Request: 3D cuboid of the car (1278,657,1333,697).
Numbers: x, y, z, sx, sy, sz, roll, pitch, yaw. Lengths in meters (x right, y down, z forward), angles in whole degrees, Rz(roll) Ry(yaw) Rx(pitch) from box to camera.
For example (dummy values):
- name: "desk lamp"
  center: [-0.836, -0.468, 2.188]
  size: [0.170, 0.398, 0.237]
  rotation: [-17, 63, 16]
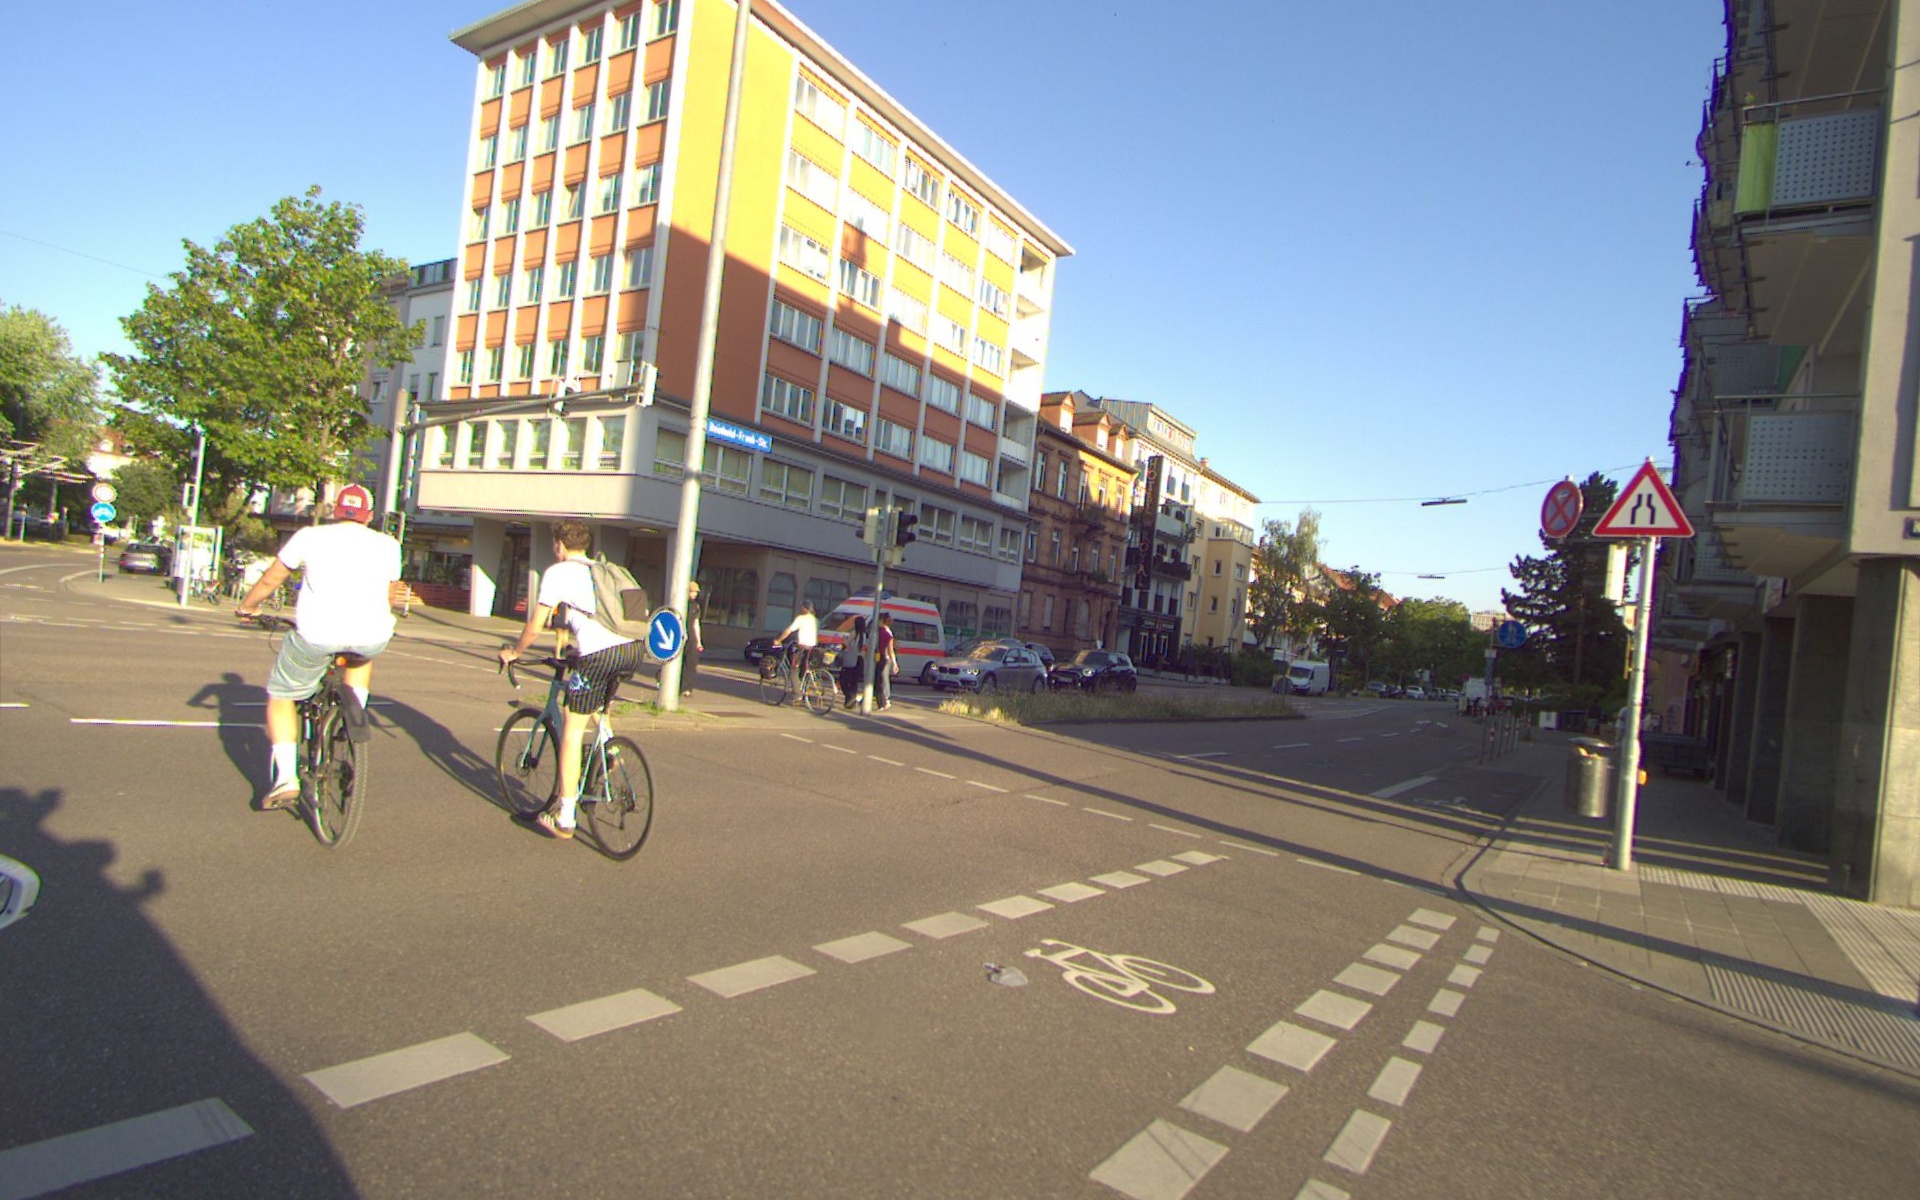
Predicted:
- name: "car"
  center: [25.383, 5.679, 73.759]
  size: [2.091, 2.553, 6.417]
  rotation: [6, -2, 33]

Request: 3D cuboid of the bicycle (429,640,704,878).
- name: "bicycle"
  center: [-2.353, 0.857, 5.897]
  size: [1.829, 1.040, 0.575]
  rotation: [5, -1, 39]

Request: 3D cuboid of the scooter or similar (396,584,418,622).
- name: "scooter or similar"
  center: [-19.645, 0.100, 35.756]
  size: [0.413, 1.269, 1.171]
  rotation: [7, -1, -36]

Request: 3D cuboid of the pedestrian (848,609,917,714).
- name: "pedestrian"
  center: [-1.307, 1.049, 17.063]
  size: [0.735, 1.682, 0.682]
  rotation: [6, -1, 35]

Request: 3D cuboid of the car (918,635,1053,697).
- name: "car"
  center: [0.781, 1.858, 27.879]
  size: [1.778, 1.392, 3.991]
  rotation: [5, -2, 34]

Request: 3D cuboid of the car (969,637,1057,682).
- name: "car"
  center: [2.395, 2.677, 44.946]
  size: [1.969, 1.592, 3.989]
  rotation: [6, -2, 36]

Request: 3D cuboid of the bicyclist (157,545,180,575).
- name: "bicyclist"
  center: [-45.873, -2.306, 58.322]
  size: [0.772, 1.637, 1.017]
  rotation: [8, -2, -33]

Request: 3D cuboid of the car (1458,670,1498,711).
- name: "car"
  center: [38.873, 6.812, 75.437]
  size: [2.056, 2.753, 4.539]
  rotation: [6, -1, 32]

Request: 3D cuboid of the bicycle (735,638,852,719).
- name: "bicycle"
  center: [-2.525, 1.168, 15.151]
  size: [1.821, 0.992, 0.520]
  rotation: [6, -1, 36]

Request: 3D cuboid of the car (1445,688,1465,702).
- name: "car"
  center: [67.771, 13.009, 137.579]
  size: [1.898, 1.592, 3.992]
  rotation: [6, -2, 33]

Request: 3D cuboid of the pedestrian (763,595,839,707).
- name: "pedestrian"
  center: [-2.405, 0.777, 15.196]
  size: [0.750, 1.608, 0.675]
  rotation: [4, -2, 37]

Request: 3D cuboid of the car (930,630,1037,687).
- name: "car"
  center: [0.848, 2.011, 33.737]
  size: [1.571, 1.589, 4.077]
  rotation: [6, -2, 33]

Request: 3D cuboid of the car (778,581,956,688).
- name: "car"
  center: [-2.481, 1.063, 28.356]
  size: [1.895, 2.511, 5.256]
  rotation: [6, -2, 34]

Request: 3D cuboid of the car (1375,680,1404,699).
- name: "car"
  center: [42.790, 8.913, 100.253]
  size: [1.898, 1.592, 3.992]
  rotation: [6, -2, 33]

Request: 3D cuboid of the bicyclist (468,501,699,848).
- name: "bicyclist"
  center: [-2.201, 0.396, 5.870]
  size: [0.979, 1.829, 0.674]
  rotation: [6, -1, 38]

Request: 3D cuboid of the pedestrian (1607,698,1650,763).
- name: "pedestrian"
  center: [19.901, 3.867, 29.955]
  size: [0.698, 1.797, 0.728]
  rotation: [6, 0, 13]

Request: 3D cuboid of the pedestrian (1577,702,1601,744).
- name: "pedestrian"
  center: [25.530, 4.971, 40.851]
  size: [0.699, 1.595, 0.726]
  rotation: [6, -1, 32]

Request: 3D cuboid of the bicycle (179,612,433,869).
- name: "bicycle"
  center: [-3.596, 0.680, 5.448]
  size: [1.952, 1.040, 0.478]
  rotation: [5, -1, 39]

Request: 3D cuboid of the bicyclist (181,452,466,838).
- name: "bicyclist"
  center: [-3.416, 0.216, 5.400]
  size: [1.042, 1.829, 0.826]
  rotation: [6, -1, 38]

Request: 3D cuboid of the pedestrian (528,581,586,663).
- name: "pedestrian"
  center: [-8.347, 0.456, 20.845]
  size: [0.736, 1.608, 0.681]
  rotation: [6, -1, 39]

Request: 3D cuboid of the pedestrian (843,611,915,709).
- name: "pedestrian"
  center: [-1.489, 1.102, 18.422]
  size: [0.891, 1.682, 0.728]
  rotation: [6, -1, 35]

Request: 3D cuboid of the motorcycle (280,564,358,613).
- name: "motorcycle"
  center: [-22.166, -0.374, 34.818]
  size: [0.750, 1.423, 2.041]
  rotation: [6, -2, 41]

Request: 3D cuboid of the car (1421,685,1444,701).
- name: "car"
  center: [56.166, 11.041, 119.591]
  size: [1.898, 1.592, 3.992]
  rotation: [6, -2, 33]

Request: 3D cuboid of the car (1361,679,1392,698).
- name: "car"
  center: [39.420, 8.374, 95.089]
  size: [1.898, 1.592, 3.991]
  rotation: [6, -2, 33]

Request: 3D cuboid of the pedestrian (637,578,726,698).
- name: "pedestrian"
  center: [-4.311, 0.586, 15.552]
  size: [1.056, 1.725, 0.661]
  rotation: [6, -1, 39]

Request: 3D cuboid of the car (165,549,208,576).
- name: "car"
  center: [-52.211, -2.514, 67.982]
  size: [1.768, 1.576, 4.201]
  rotation: [4, 0, -32]

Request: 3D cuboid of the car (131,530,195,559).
- name: "car"
  center: [-96.594, -6.683, 121.959]
  size: [2.119, 2.624, 5.522]
  rotation: [5, -2, 31]

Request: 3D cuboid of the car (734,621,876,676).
- name: "car"
  center: [-5.006, 1.635, 33.207]
  size: [1.811, 1.356, 4.665]
  rotation: [6, -2, 35]

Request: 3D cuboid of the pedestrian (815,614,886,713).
- name: "pedestrian"
  center: [-1.791, 1.038, 16.458]
  size: [0.735, 1.518, 0.682]
  rotation: [6, -1, 35]

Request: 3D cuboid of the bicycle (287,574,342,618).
- name: "bicycle"
  center: [-20.416, -0.134, 31.806]
  size: [2.091, 1.172, 0.645]
  rotation: [7, 0, 36]

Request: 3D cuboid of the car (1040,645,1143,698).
- name: "car"
  center: [4.547, 2.467, 34.303]
  size: [1.760, 1.481, 3.990]
  rotation: [6, -2, 35]

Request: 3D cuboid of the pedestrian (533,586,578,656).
- name: "pedestrian"
  center: [-10.426, 0.541, 25.918]
  size: [0.799, 1.722, 0.569]
  rotation: [6, 0, 35]

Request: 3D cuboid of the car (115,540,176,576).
- name: "car"
  center: [-38.011, -1.941, 47.035]
  size: [1.715, 1.490, 3.867]
  rotation: [4, 0, -33]

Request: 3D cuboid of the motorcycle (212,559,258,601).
- name: "motorcycle"
  center: [-24.776, -0.704, 34.372]
  size: [2.170, 1.257, 0.665]
  rotation: [5, -1, 41]

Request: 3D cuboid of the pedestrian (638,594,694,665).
- name: "pedestrian"
  center: [-7.726, 0.781, 26.411]
  size: [1.011, 1.722, 0.783]
  rotation: [6, -1, 35]

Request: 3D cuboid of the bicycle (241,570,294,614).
- name: "bicycle"
  center: [-21.149, -0.259, 30.721]
  size: [1.845, 1.140, 0.645]
  rotation: [7, 0, 36]

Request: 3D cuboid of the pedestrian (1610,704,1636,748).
- name: "pedestrian"
  center: [25.479, 4.830, 38.648]
  size: [0.700, 1.595, 0.726]
  rotation: [6, -1, 33]

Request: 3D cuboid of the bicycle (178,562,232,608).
- name: "bicycle"
  center: [-21.999, -0.442, 29.306]
  size: [1.845, 1.140, 0.645]
  rotation: [7, 0, 36]

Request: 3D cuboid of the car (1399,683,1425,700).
- name: "car"
  center: [50.406, 10.243, 112.086]
  size: [1.898, 1.592, 3.992]
  rotation: [6, -2, 33]
